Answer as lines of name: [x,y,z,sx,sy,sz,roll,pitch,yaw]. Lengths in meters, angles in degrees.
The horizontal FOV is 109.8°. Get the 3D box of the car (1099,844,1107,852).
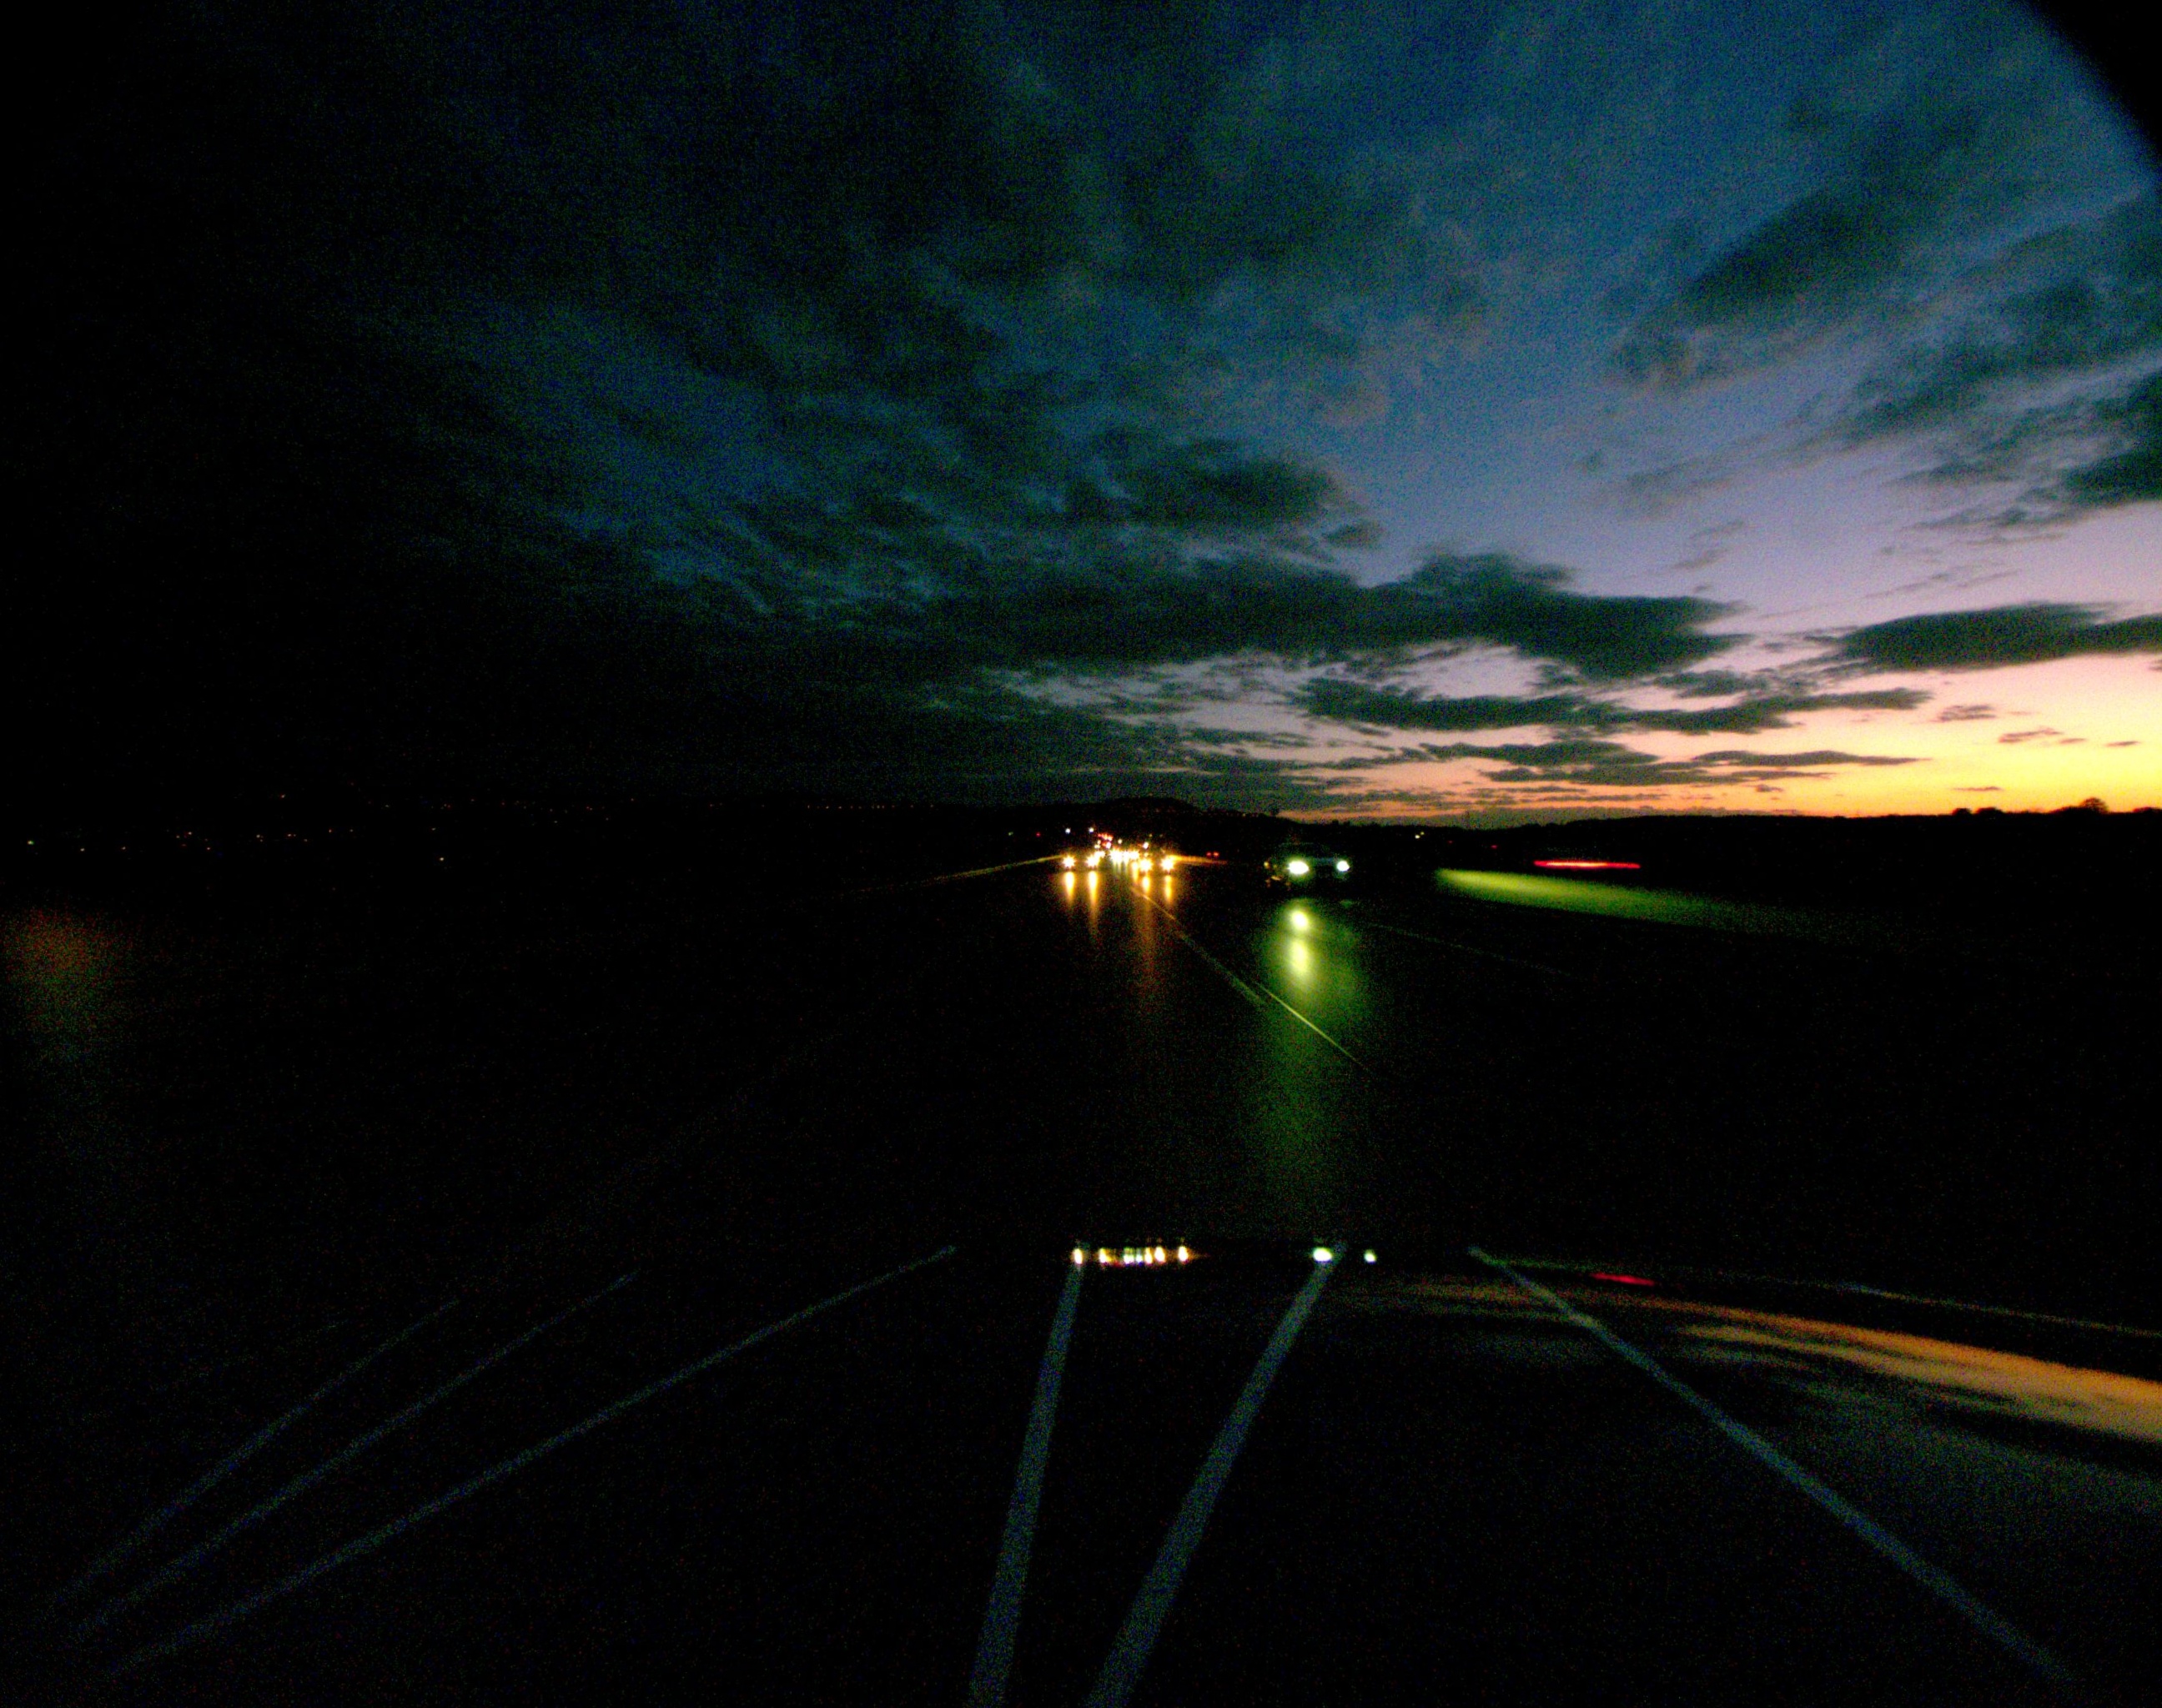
car: [5.541,-1.567,189.254,1.862,1.826,3.999,-3,1,1]

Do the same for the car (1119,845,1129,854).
car: [9.110,-1.050,161.926,1.862,1.826,3.999,-3,1,1]

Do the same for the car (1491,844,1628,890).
car: [15.858,0.357,25.526,1.675,1.293,4.704,-3,1,1]

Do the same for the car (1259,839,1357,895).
car: [7.470,0.351,25.537,1.819,1.638,4.855,-3,1,1]

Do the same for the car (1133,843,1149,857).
car: [8.019,-0.540,102.361,1.862,1.826,3.999,-3,1,1]

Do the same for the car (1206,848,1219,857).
car: [24.750,-0.377,143.284,1.662,1.526,4.519,-3,1,1]

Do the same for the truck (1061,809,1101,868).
truck: [0.087,-1.226,67.012,3.012,4.570,12.577,-3,0,1]

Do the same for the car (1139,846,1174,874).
car: [4.698,0.334,47.626,1.802,1.531,4.158,-3,1,1]
